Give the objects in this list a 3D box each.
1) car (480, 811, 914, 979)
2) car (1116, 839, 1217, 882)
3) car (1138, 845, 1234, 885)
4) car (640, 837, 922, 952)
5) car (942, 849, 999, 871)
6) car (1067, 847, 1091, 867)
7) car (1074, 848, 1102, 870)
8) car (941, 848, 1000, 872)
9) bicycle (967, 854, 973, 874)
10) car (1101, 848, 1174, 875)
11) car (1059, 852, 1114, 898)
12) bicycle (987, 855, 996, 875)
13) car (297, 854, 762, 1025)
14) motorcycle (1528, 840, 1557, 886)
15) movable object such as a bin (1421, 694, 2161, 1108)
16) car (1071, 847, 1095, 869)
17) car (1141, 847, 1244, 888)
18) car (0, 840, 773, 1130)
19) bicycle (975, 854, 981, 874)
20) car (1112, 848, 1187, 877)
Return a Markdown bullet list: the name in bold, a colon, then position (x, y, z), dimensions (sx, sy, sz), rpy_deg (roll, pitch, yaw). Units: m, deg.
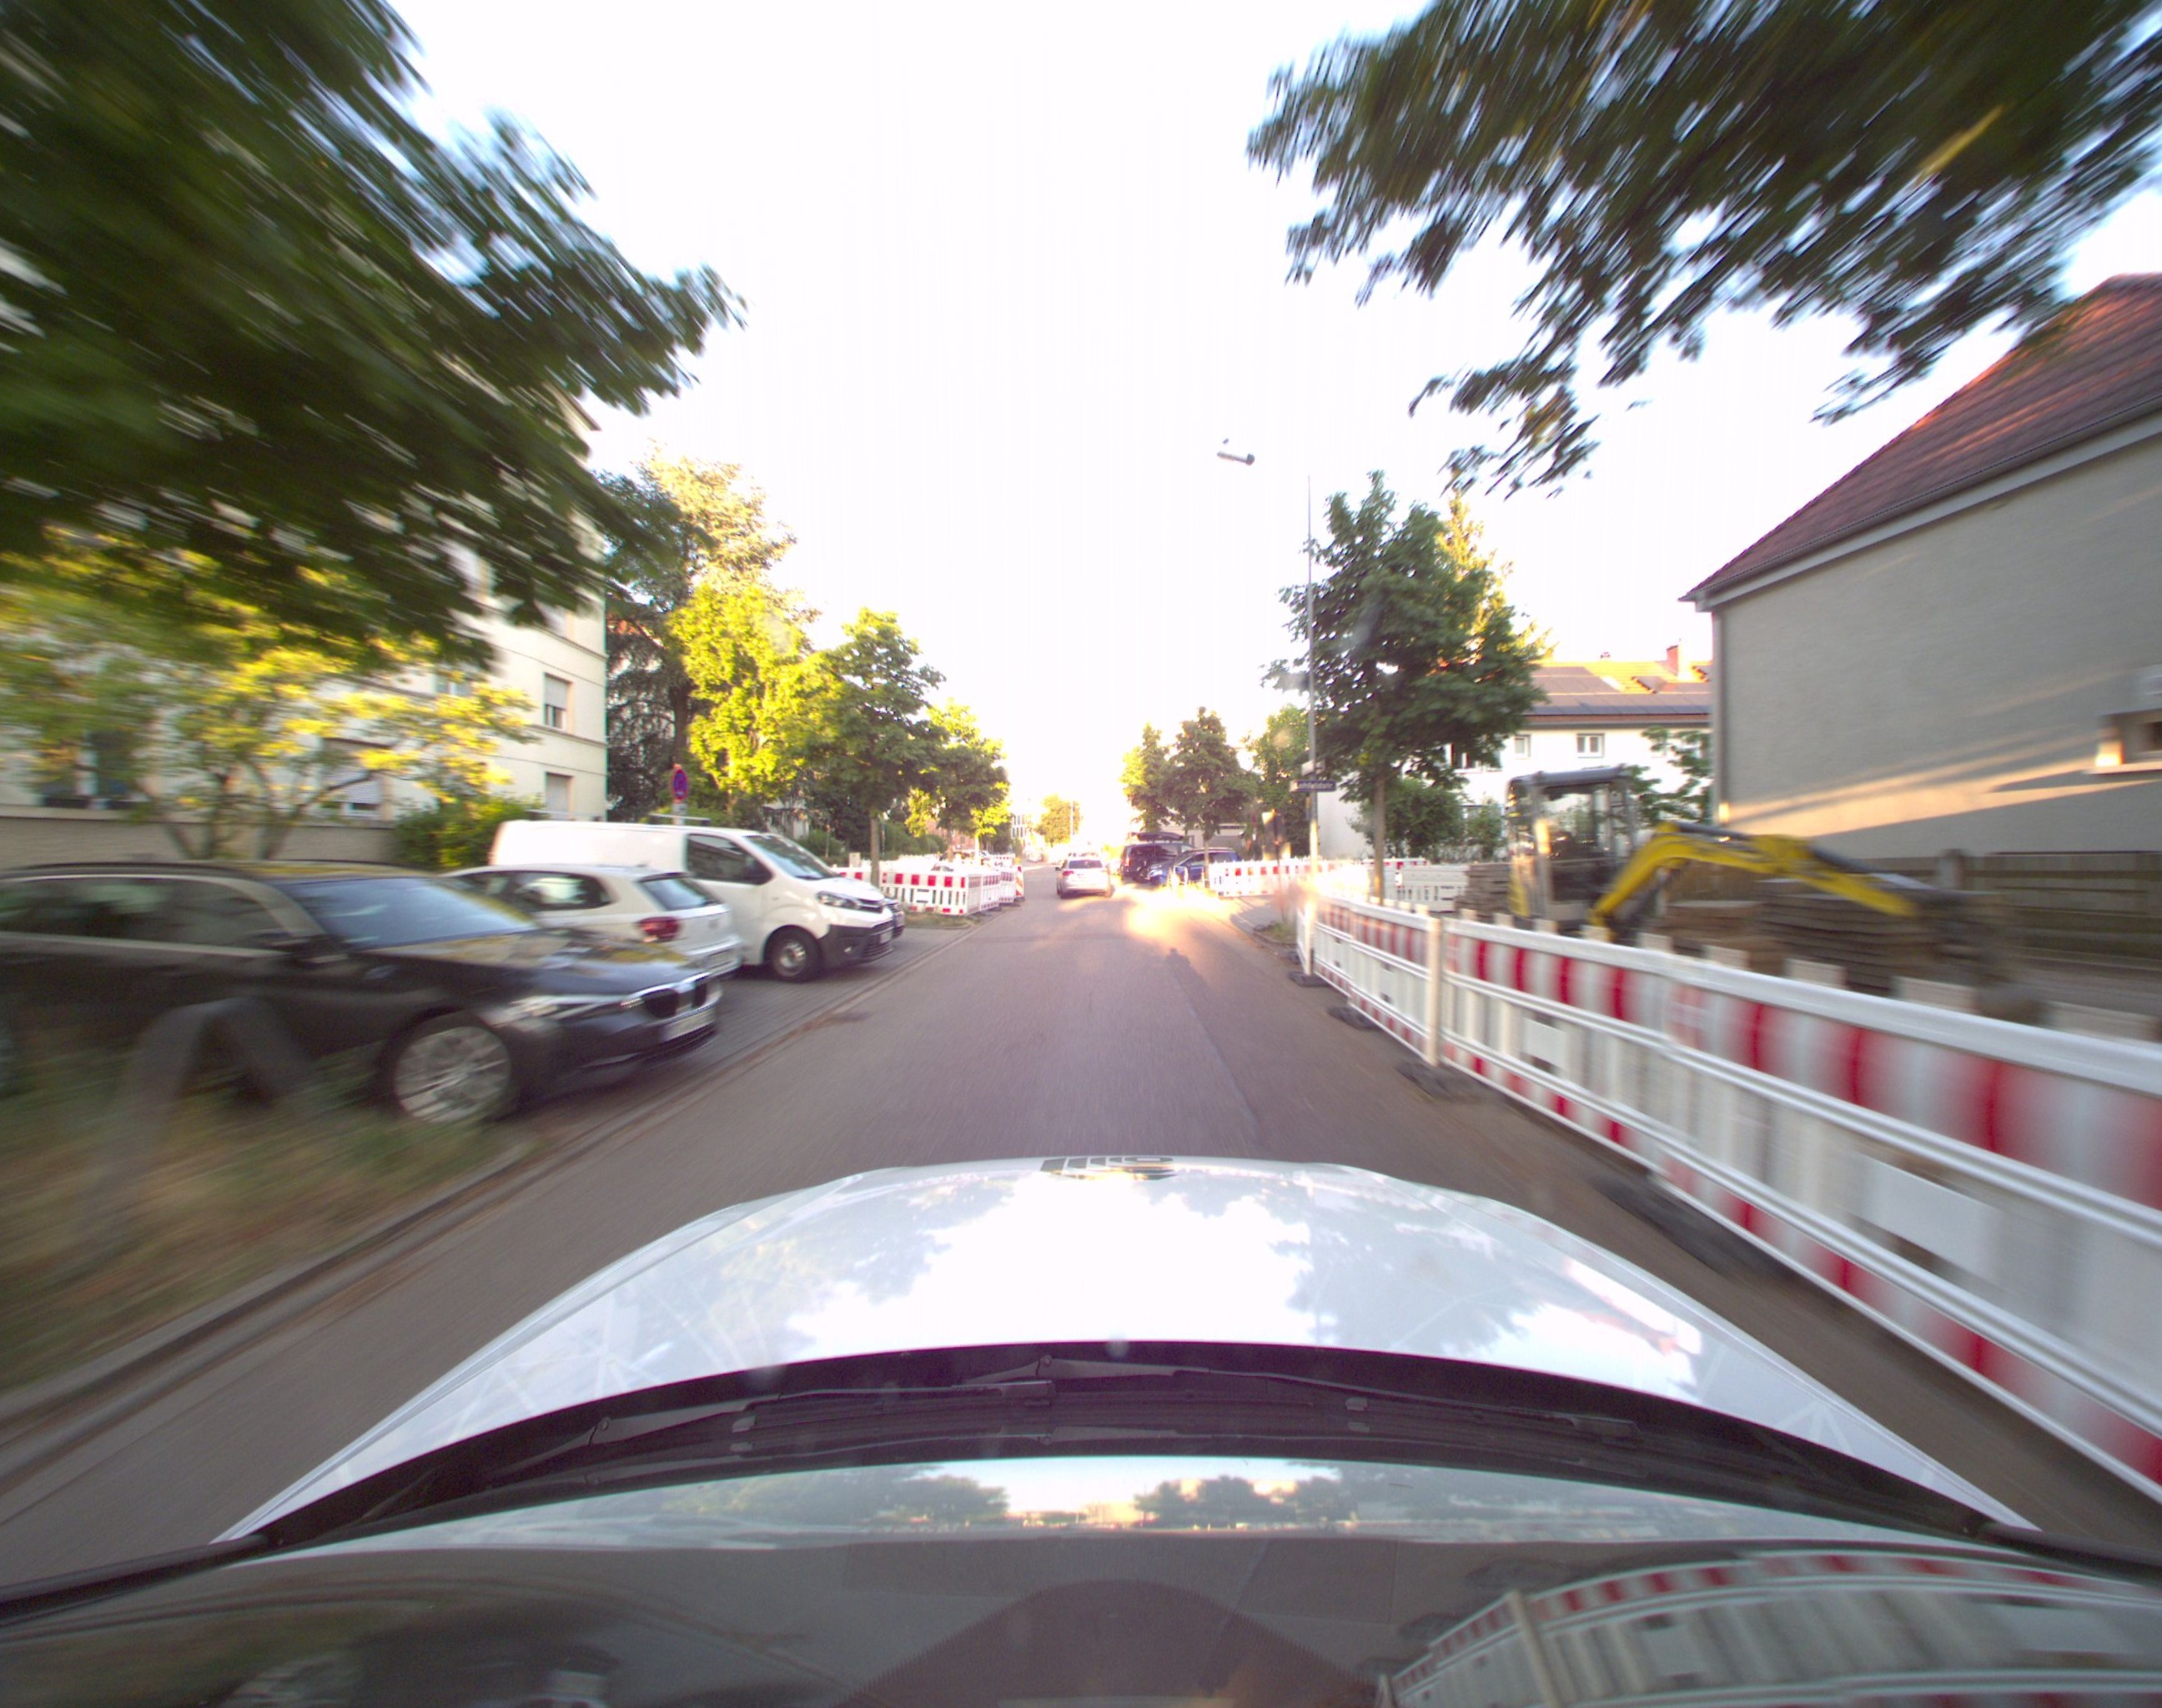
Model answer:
- **car**: position (-4.813, 0.479, 10.775), dimensions (4.756, 2.013, 2.000), rpy_deg (0, 0, 0)
- **car**: position (4.107, 0.287, 39.523), dimensions (4.553, 2.023, 2.096), rpy_deg (0, 0, -8)
- **car**: position (4.727, 0.468, 37.101), dimensions (3.983, 1.768, 1.995), rpy_deg (0, 0, -7)
- **car**: position (-4.784, 0.612, 13.442), dimensions (3.976, 1.752, 1.799), rpy_deg (0, 0, -2)
- **car**: position (-7.936, 0.411, 58.771), dimensions (3.983, 1.480, 1.995), rpy_deg (-1, 1, -7)
- **car**: position (-0.169, 0.205, 67.564), dimensions (1.805, 1.612, 3.576), rpy_deg (0, 0, -4)
- **car**: position (0.492, 0.353, 57.146), dimensions (1.726, 1.483, 3.553), rpy_deg (0, 0, -4)
- **car**: position (-7.597, 0.370, 56.358), dimensions (3.983, 1.625, 1.995), rpy_deg (0, 0, -7)
- **bicycle**: position (-7.049, 0.645, 51.799), dimensions (0.405, 1.227, 1.982), rpy_deg (0, 0, -7)
- **car**: position (3.393, 0.427, 49.316), dimensions (4.149, 1.572, 1.792), rpy_deg (0, 0, -10)
- **car**: position (0.184, 0.696, 29.192), dimensions (1.802, 1.488, 3.999), rpy_deg (-2, 0, 0)
- **bicycle**: position (-5.701, 0.696, 51.782), dimensions (0.406, 1.227, 1.980), rpy_deg (0, 0, -10)
- **car**: position (-5.234, 0.747, 8.074), dimensions (3.401, 1.483, 1.760), rpy_deg (0, 0, 2)
- **motorcycle**: position (11.648, 0.216, 20.520), dimensions (0.573, 1.105, 1.858), rpy_deg (0, 0, 32)
- **movable object such as a bin**: position (5.623, 0.250, 7.429), dimensions (2.623, 2.402, 5.190), rpy_deg (0, 0, -4)
- **car**: position (0.139, 0.287, 62.698), dimensions (1.660, 1.573, 3.436), rpy_deg (0, 0, -4)
- **car**: position (4.698, 0.530, 34.440), dimensions (3.987, 1.651, 1.759), rpy_deg (0, 0, -10)
- **car**: position (-4.854, 0.727, 5.494), dimensions (4.756, 1.470, 1.881), rpy_deg (2, 0, 0)
- **bicycle**: position (-6.548, 0.620, 51.715), dimensions (0.405, 1.227, 1.982), rpy_deg (0, 0, -7)
- **car**: position (3.912, 0.469, 46.901), dimensions (3.939, 1.649, 1.970), rpy_deg (0, 0, -10)
